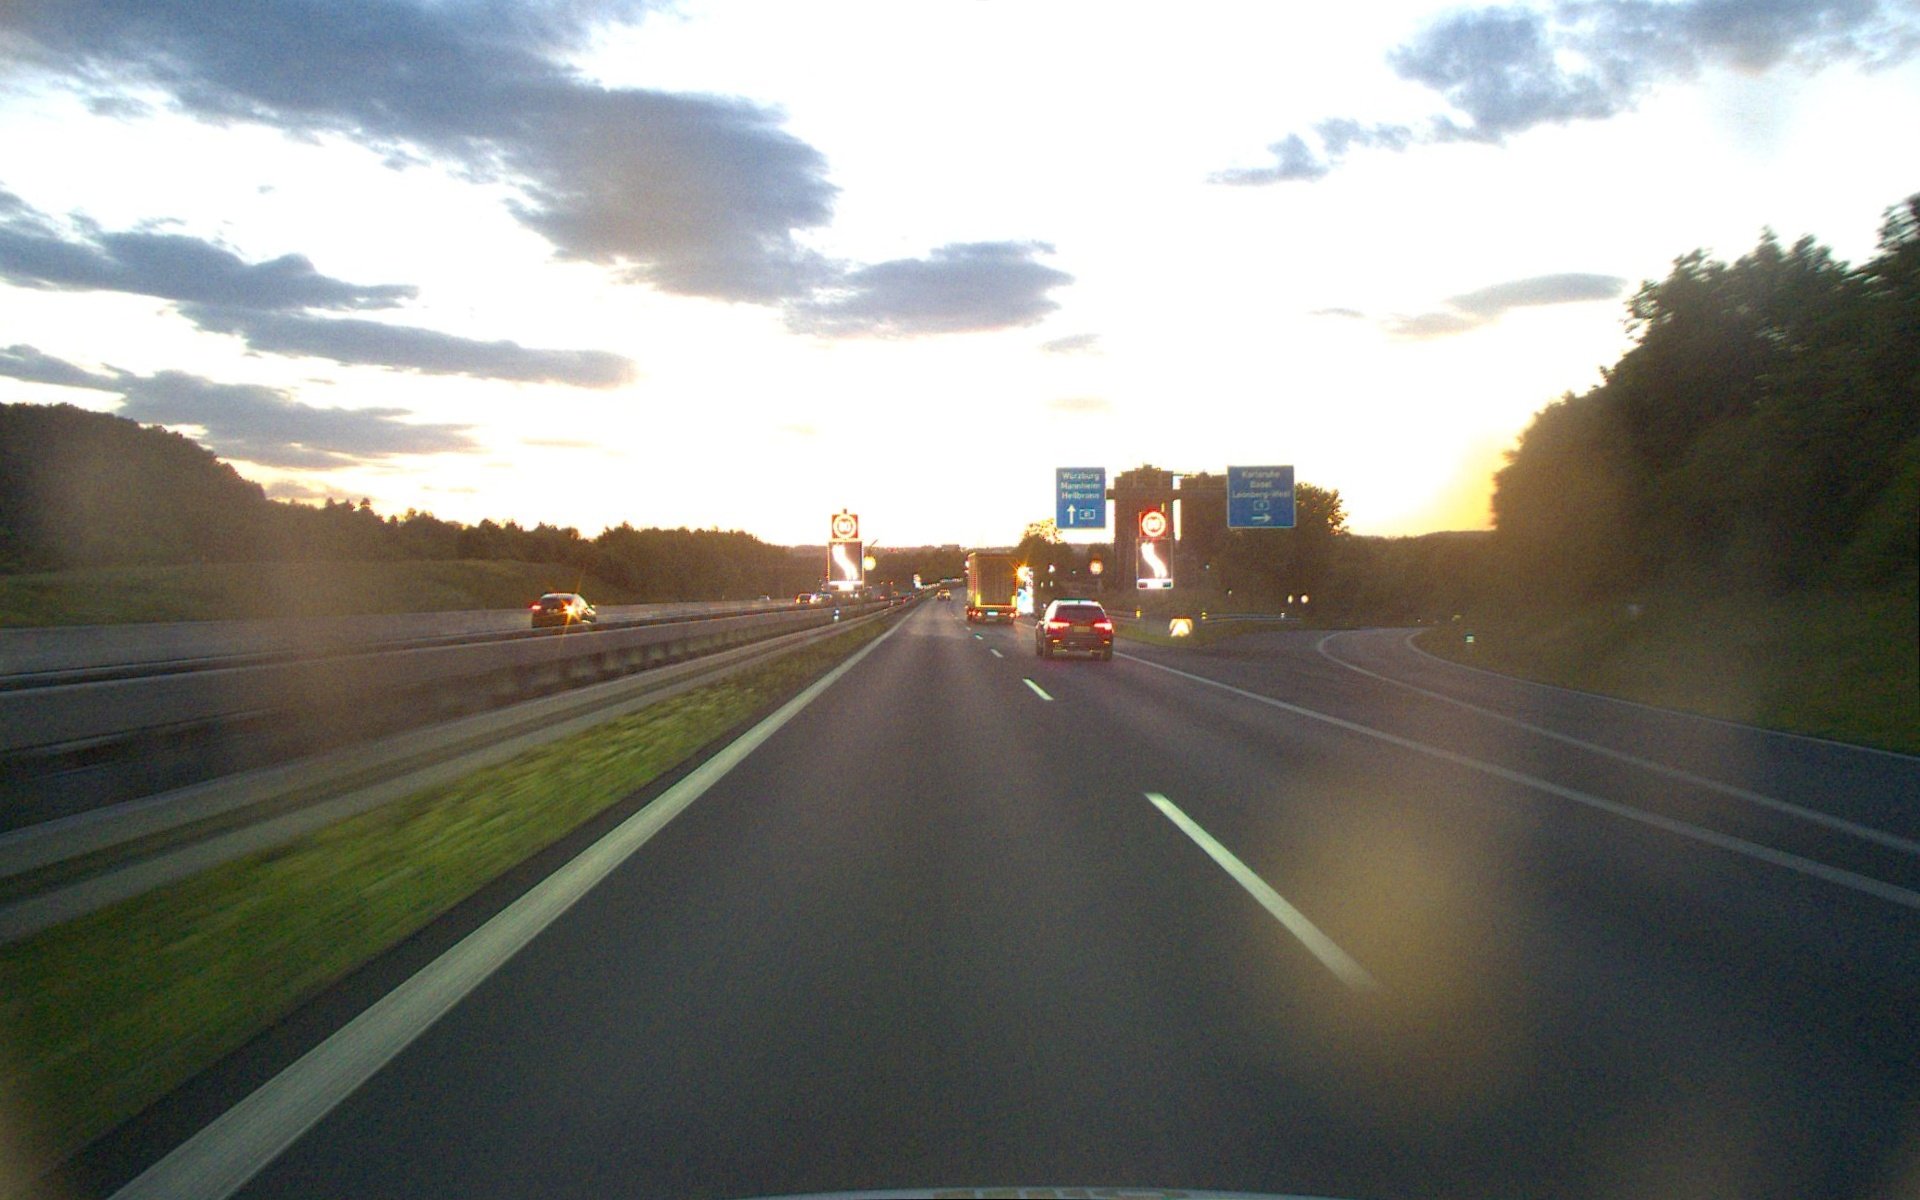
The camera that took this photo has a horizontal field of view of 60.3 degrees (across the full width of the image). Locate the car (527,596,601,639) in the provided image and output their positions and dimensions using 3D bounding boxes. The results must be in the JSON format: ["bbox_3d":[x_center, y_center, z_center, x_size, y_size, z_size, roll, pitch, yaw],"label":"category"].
[{"bbox_3d":[-15.296,0.665,64.113,1.834,1.588,4.518,-1,0,-1],"label":"car"}]

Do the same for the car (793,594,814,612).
[{"bbox_3d":[-14.793,0.314,156.772,1.678,1.634,3.721,-1,0,-1],"label":"car"}]

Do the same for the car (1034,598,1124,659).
[{"bbox_3d":[3.026,0.707,42.789,1.876,1.467,3.998,-1,0,-2],"label":"car"}]

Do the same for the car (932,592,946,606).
[{"bbox_3d":[-3.134,-0.127,242.018,1.953,2.049,3.999,-1,0,-1],"label":"car"}]

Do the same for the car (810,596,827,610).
[{"bbox_3d":[-16.074,0.311,187.947,1.604,1.573,3.394,-1,0,-1],"label":"car"}]

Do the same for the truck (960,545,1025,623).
[{"bbox_3d":[1.862,-0.882,99.496,3.439,4.376,9.888,-1,0,-1],"label":"truck"}]

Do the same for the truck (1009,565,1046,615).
[{"bbox_3d":[5.685,-0.827,140.192,2.731,4.130,6.410,0,0,-1],"label":"truck"}]

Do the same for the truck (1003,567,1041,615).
[{"bbox_3d":[5.480,-0.807,147.988,2.854,4.183,9.147,0,0,-1],"label":"truck"}]
